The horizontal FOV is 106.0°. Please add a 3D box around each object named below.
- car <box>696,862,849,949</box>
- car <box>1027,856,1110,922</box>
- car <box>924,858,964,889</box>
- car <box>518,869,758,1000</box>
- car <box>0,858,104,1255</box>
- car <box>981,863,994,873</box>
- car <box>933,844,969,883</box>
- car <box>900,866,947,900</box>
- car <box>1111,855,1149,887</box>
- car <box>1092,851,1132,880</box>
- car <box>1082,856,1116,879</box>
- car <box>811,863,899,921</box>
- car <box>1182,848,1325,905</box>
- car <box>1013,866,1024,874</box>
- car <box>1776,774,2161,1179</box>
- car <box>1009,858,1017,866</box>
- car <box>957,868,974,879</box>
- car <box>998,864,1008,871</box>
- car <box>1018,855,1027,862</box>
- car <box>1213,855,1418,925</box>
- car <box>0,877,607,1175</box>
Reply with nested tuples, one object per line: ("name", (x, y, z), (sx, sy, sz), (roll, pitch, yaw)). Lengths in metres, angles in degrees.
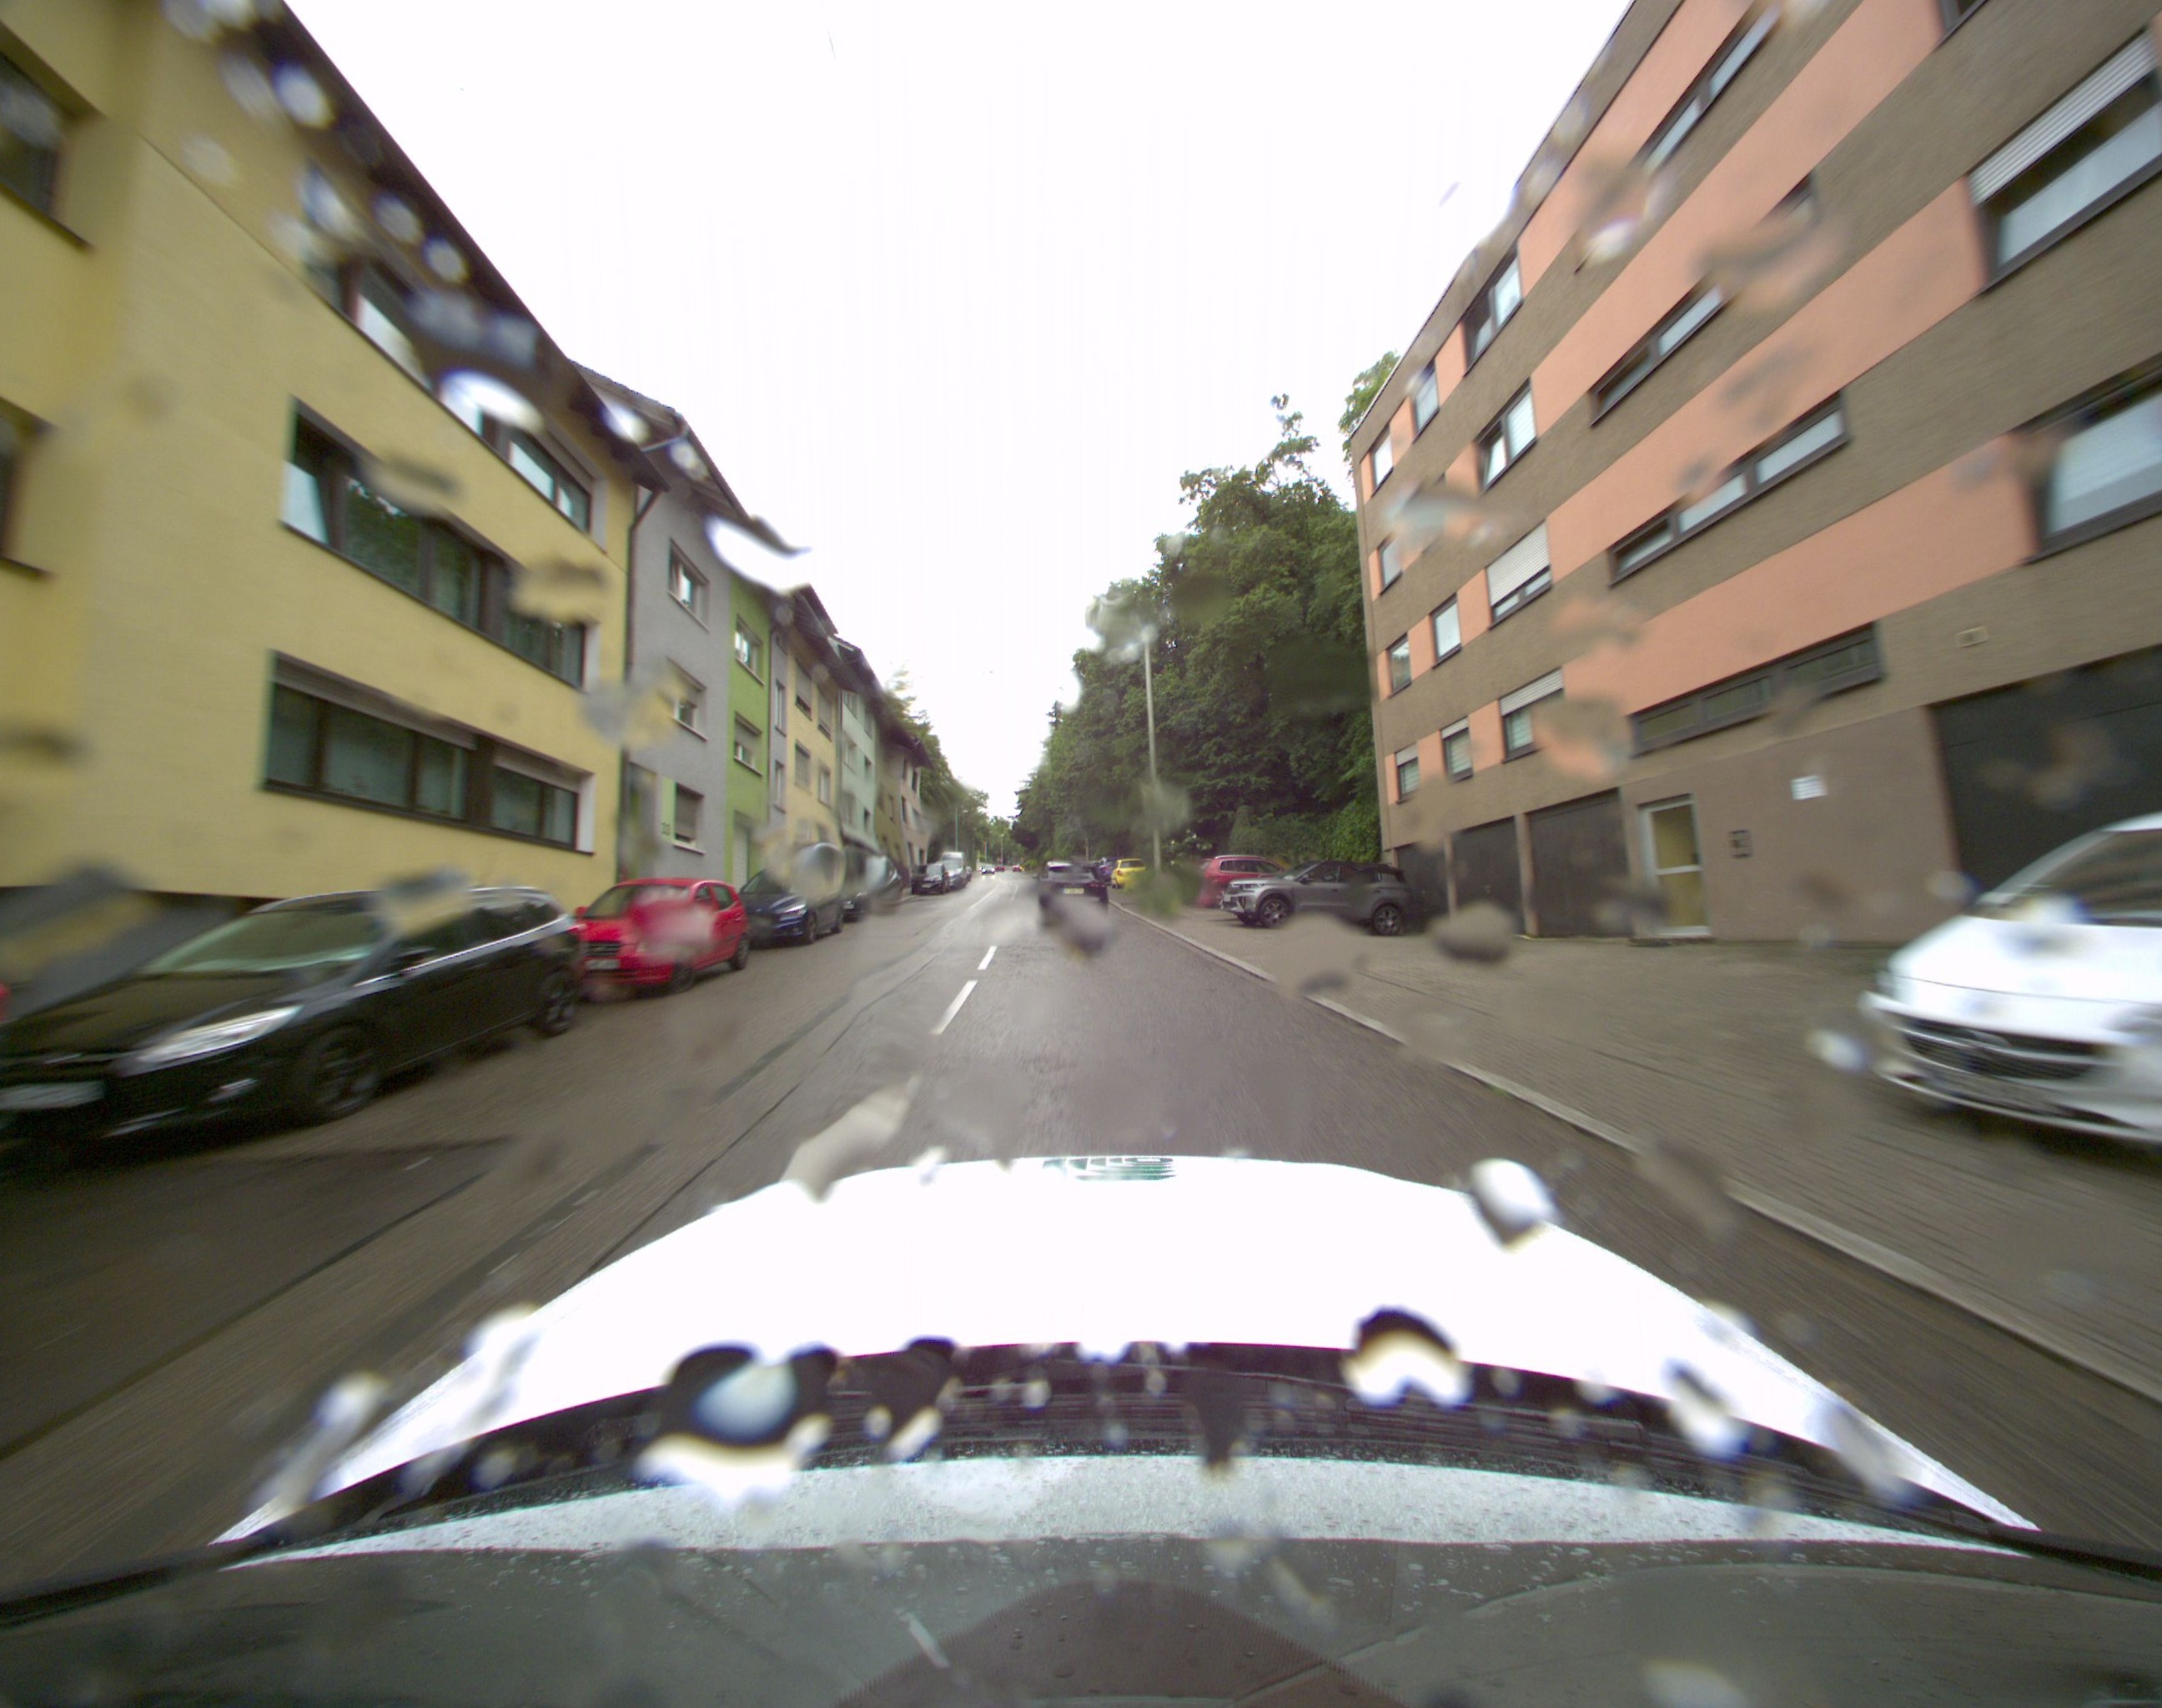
("car", (-6.656, 1.022, 18.135), (1.990, 1.585, 4.463), (-2, 0, -5))
("car", (-0.427, 0.846, 21.665), (1.990, 1.559, 3.994), (0, 0, -4))
("car", (-8.279, 1.140, 49.529), (1.987, 1.755, 4.472), (-2, 0, -5))
("car", (-6.089, 1.006, 11.692), (1.726, 1.472, 3.485), (-2, 0, -5))
("car", (-5.462, 0.875, 1.493), (1.988, 1.650, 4.438), (-2, 0, -2))
("car", (-14.892, 2.257, 130.348), (1.991, 1.559, 3.992), (0, 0, -6))
("car", (-8.906, 0.656, 56.155), (1.987, 2.475, 5.773), (-2, 0, -5))
("car", (-8.286, 1.478, 43.254), (1.987, 1.585, 4.297), (-2, 0, -5))
("car", (2.479, 0.848, 41.784), (1.628, 1.530, 3.997), (0, 0, -2))
("car", (1.817, 0.697, 48.733), (1.808, 1.530, 4.410), (-4, 0, -5))
("car", (1.270, 0.971, 59.503), (1.809, 1.530, 4.407), (-4, 0, -6))
("car", (-6.967, 1.114, 25.533), (1.850, 1.585, 4.297), (-2, 0, -5))
("car", (5.562, 0.724, 26.471), (4.195, 1.735, 1.755), (1, -1, -9))
("car", (-13.533, 3.391, 175.574), (2.073, 1.559, 3.990), (-1, 0, -7))
("car", (6.232, 0.347, 4.253), (3.960, 1.529, 1.688), (-7, 0, -8))
("car", (-19.008, 2.345, 227.275), (1.988, 2.014, 3.997), (0, -3, -1))
("car", (-15.793, 2.628, 111.787), (1.987, 1.384, 4.449), (-2, 0, -5))
("car", (-17.059, 2.953, 178.931), (2.071, 1.559, 3.992), (-1, 0, -6))
("car", (-14.501, 1.083, 200.788), (1.988, 1.560, 3.996), (-3, -2, -2))
("car", (5.312, 0.808, 18.714), (4.193, 1.496, 1.756), (1, -1, -7))
("car", (-5.988, 1.012, 6.603), (1.990, 1.472, 4.340), (-2, 0, -5))
